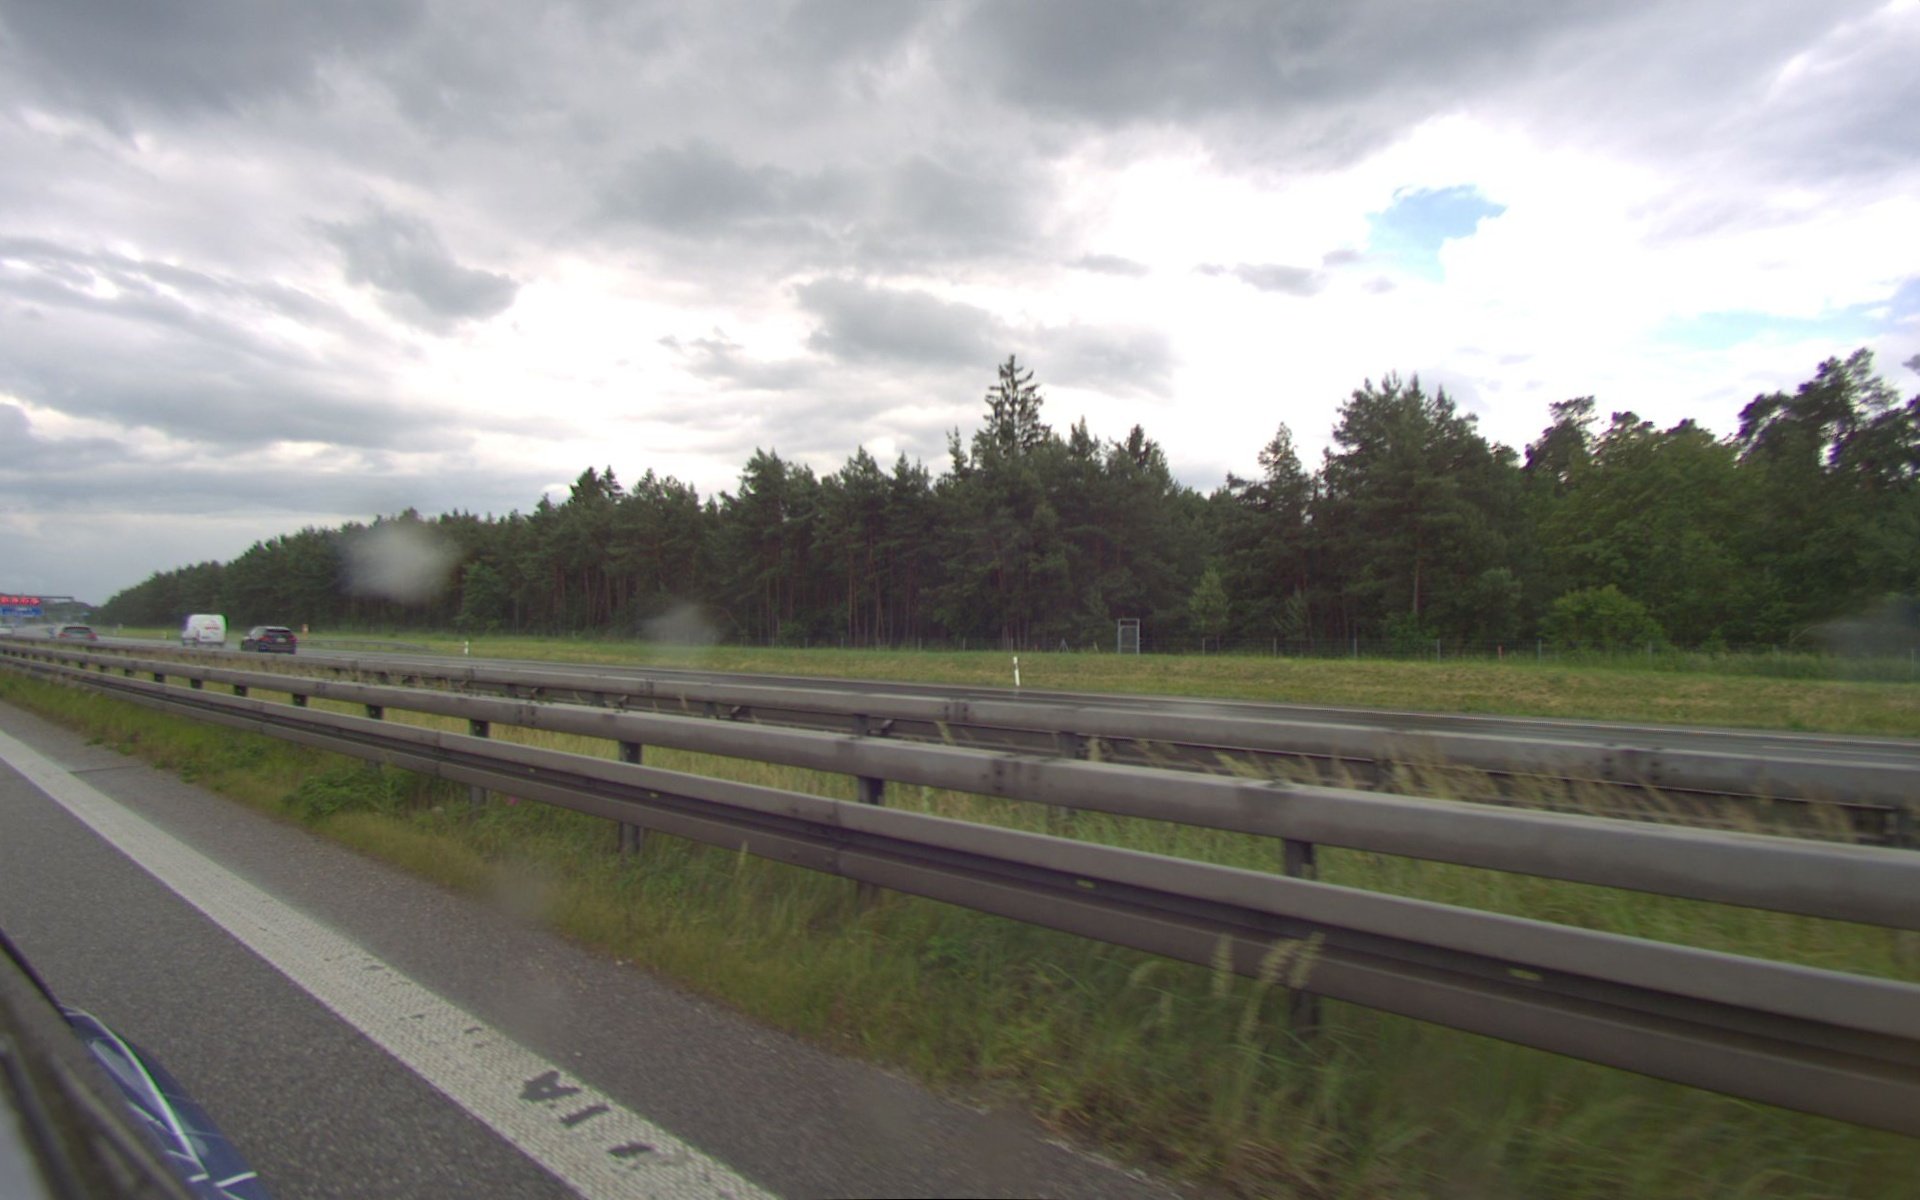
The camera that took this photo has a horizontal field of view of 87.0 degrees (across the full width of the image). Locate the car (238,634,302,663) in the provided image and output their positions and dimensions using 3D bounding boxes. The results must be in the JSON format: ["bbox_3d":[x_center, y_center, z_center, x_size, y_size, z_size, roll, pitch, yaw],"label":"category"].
[{"bbox_3d":[-37.884,2.639,55.511,3.997,1.483,1.855,-1,-3,40],"label":"car"}]

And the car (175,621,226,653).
[{"bbox_3d":[-62.703,3.068,83.509,6.582,2.530,2.076,-2,-4,42],"label":"car"}]

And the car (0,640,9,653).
[{"bbox_3d":[-120.286,5.811,126.482,3.999,1.499,1.680,-2,-3,42],"label":"car"}]

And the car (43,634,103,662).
[{"bbox_3d":[-48.419,2.612,55.224,3.997,1.442,1.855,-1,-3,40],"label":"car"}]

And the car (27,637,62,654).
[{"bbox_3d":[-76.410,3.790,84.428,4.666,1.335,1.679,-2,-4,42],"label":"car"}]
